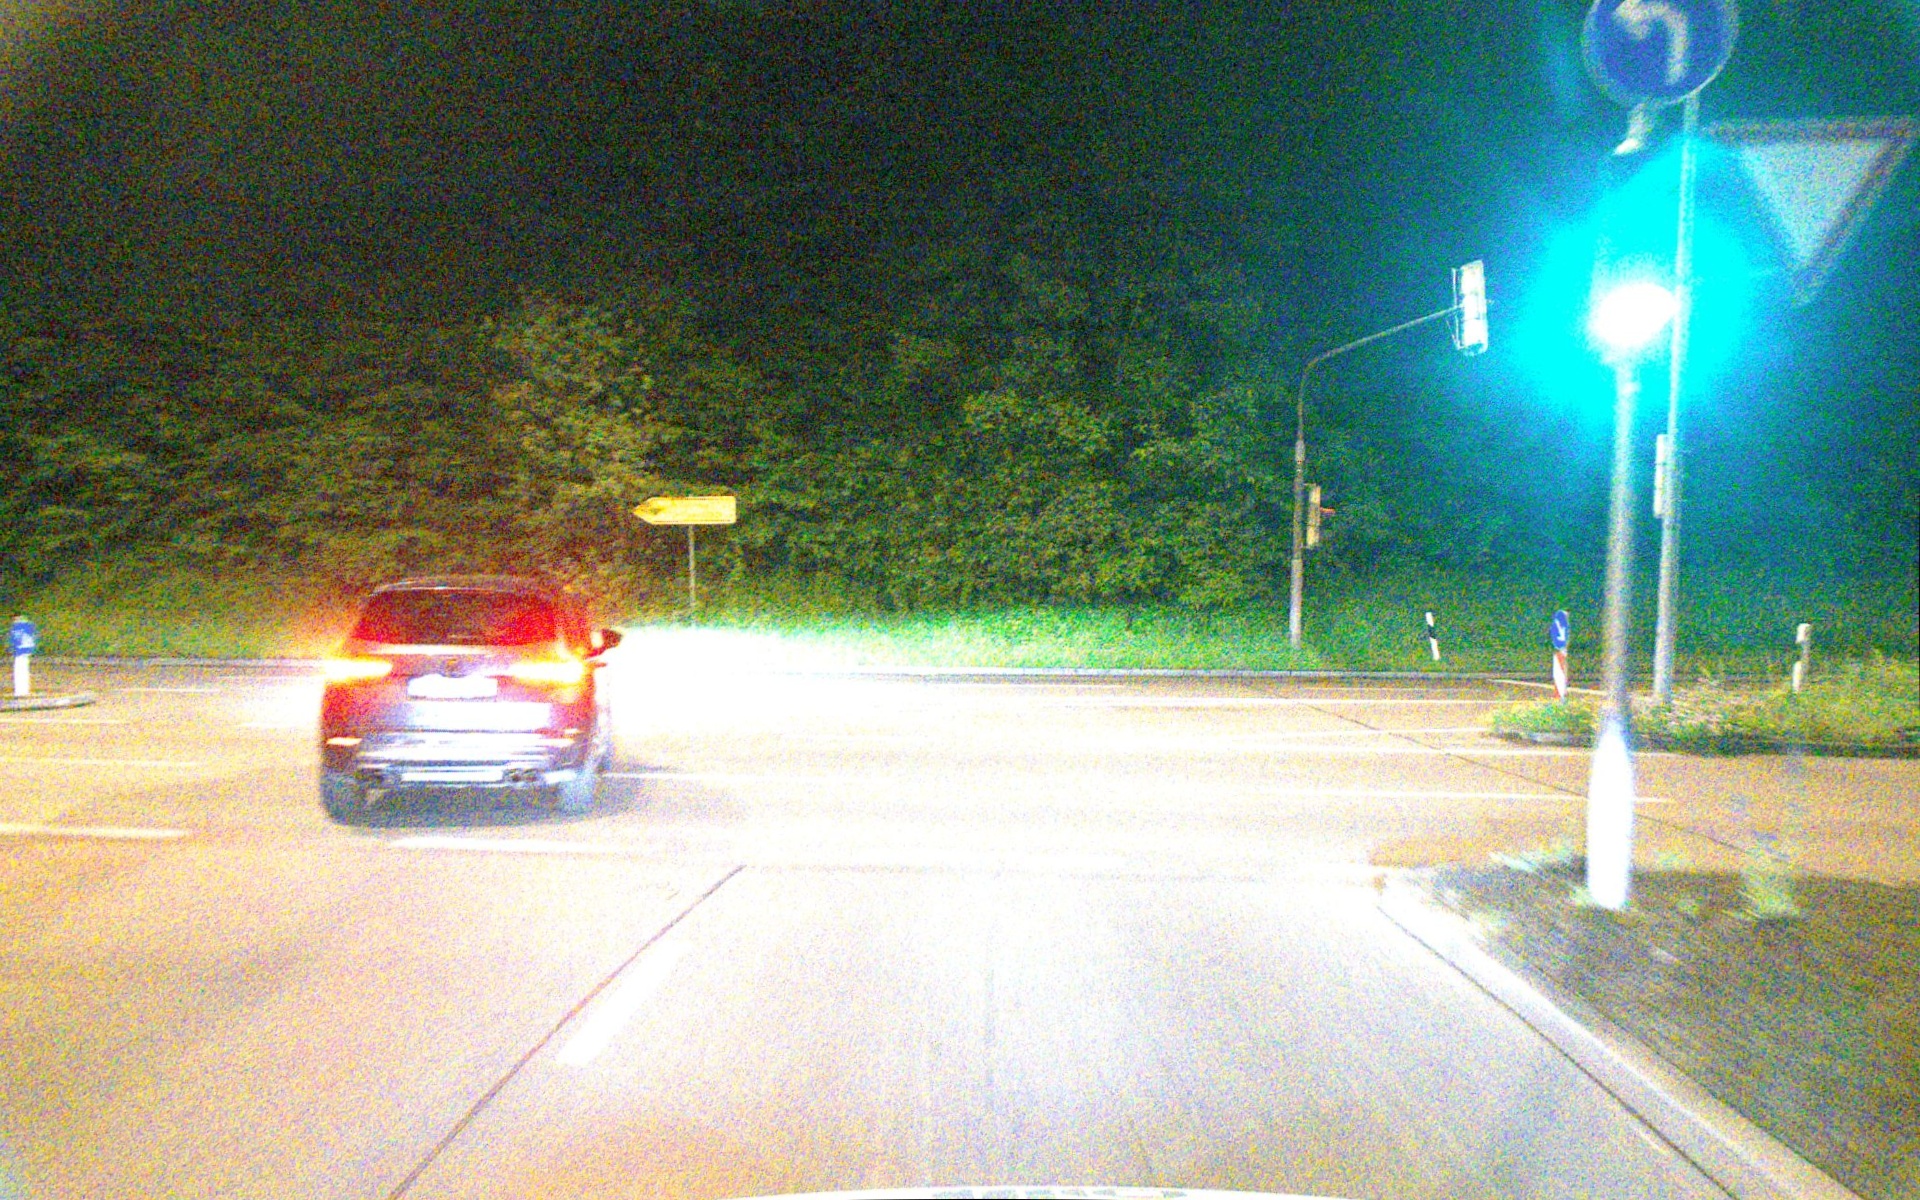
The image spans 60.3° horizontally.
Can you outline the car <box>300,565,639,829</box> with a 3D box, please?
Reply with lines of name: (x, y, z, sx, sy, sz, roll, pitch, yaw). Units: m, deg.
car: (-3.399, 0.588, 12.200, 1.817, 1.610, 3.999, 1, 0, -8)
